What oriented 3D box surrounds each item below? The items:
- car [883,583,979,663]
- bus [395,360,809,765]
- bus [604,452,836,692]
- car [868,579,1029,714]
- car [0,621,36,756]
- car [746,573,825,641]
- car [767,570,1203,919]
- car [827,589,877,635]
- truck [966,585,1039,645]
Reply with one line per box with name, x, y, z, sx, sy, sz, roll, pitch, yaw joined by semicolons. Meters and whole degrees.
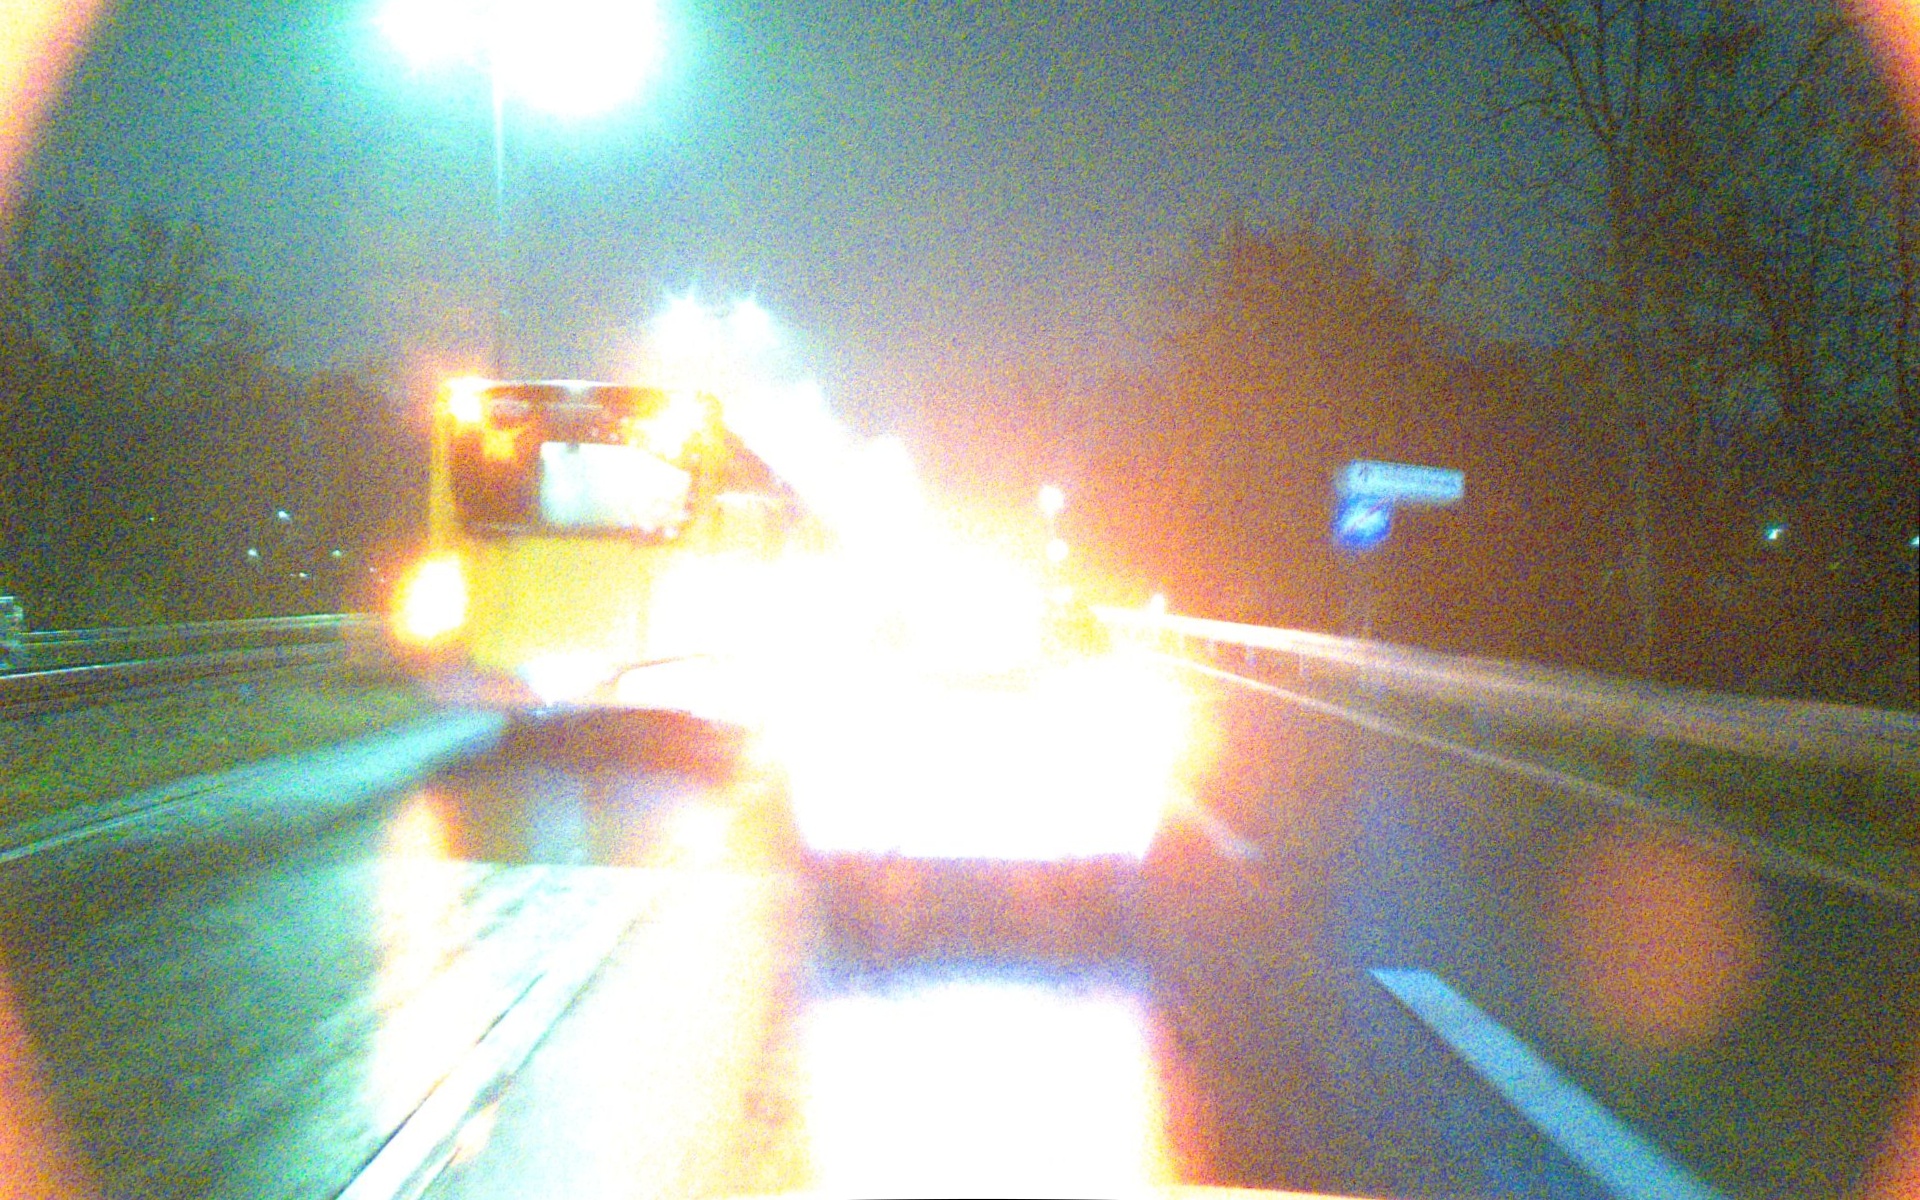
car;-0.573;0.427;32.852;1.785;1.487;3.715;1;0;-1
bus;-3.309;-0.356;17.977;2.688;3.178;9.198;2;1;-2
bus;-3.605;-0.442;26.932;2.688;3.178;8.700;2;1;-2
car;-0.161;0.520;20.396;1.785;1.487;3.715;1;0;-1
car;-14.171;1.176;21.485;1.953;1.840;4.198;2;-1;-1
car;-4.158;0.178;39.879;1.526;1.513;3.808;2;-1;-1
car;0.012;0.638;9.113;1.906;1.517;3.713;1;0;-3
car;-3.790;0.436;58.373;1.526;1.513;3.808;2;-1;-1
truck;2.078;0.726;77.748;3.005;2.573;7.169;2;-1;4
